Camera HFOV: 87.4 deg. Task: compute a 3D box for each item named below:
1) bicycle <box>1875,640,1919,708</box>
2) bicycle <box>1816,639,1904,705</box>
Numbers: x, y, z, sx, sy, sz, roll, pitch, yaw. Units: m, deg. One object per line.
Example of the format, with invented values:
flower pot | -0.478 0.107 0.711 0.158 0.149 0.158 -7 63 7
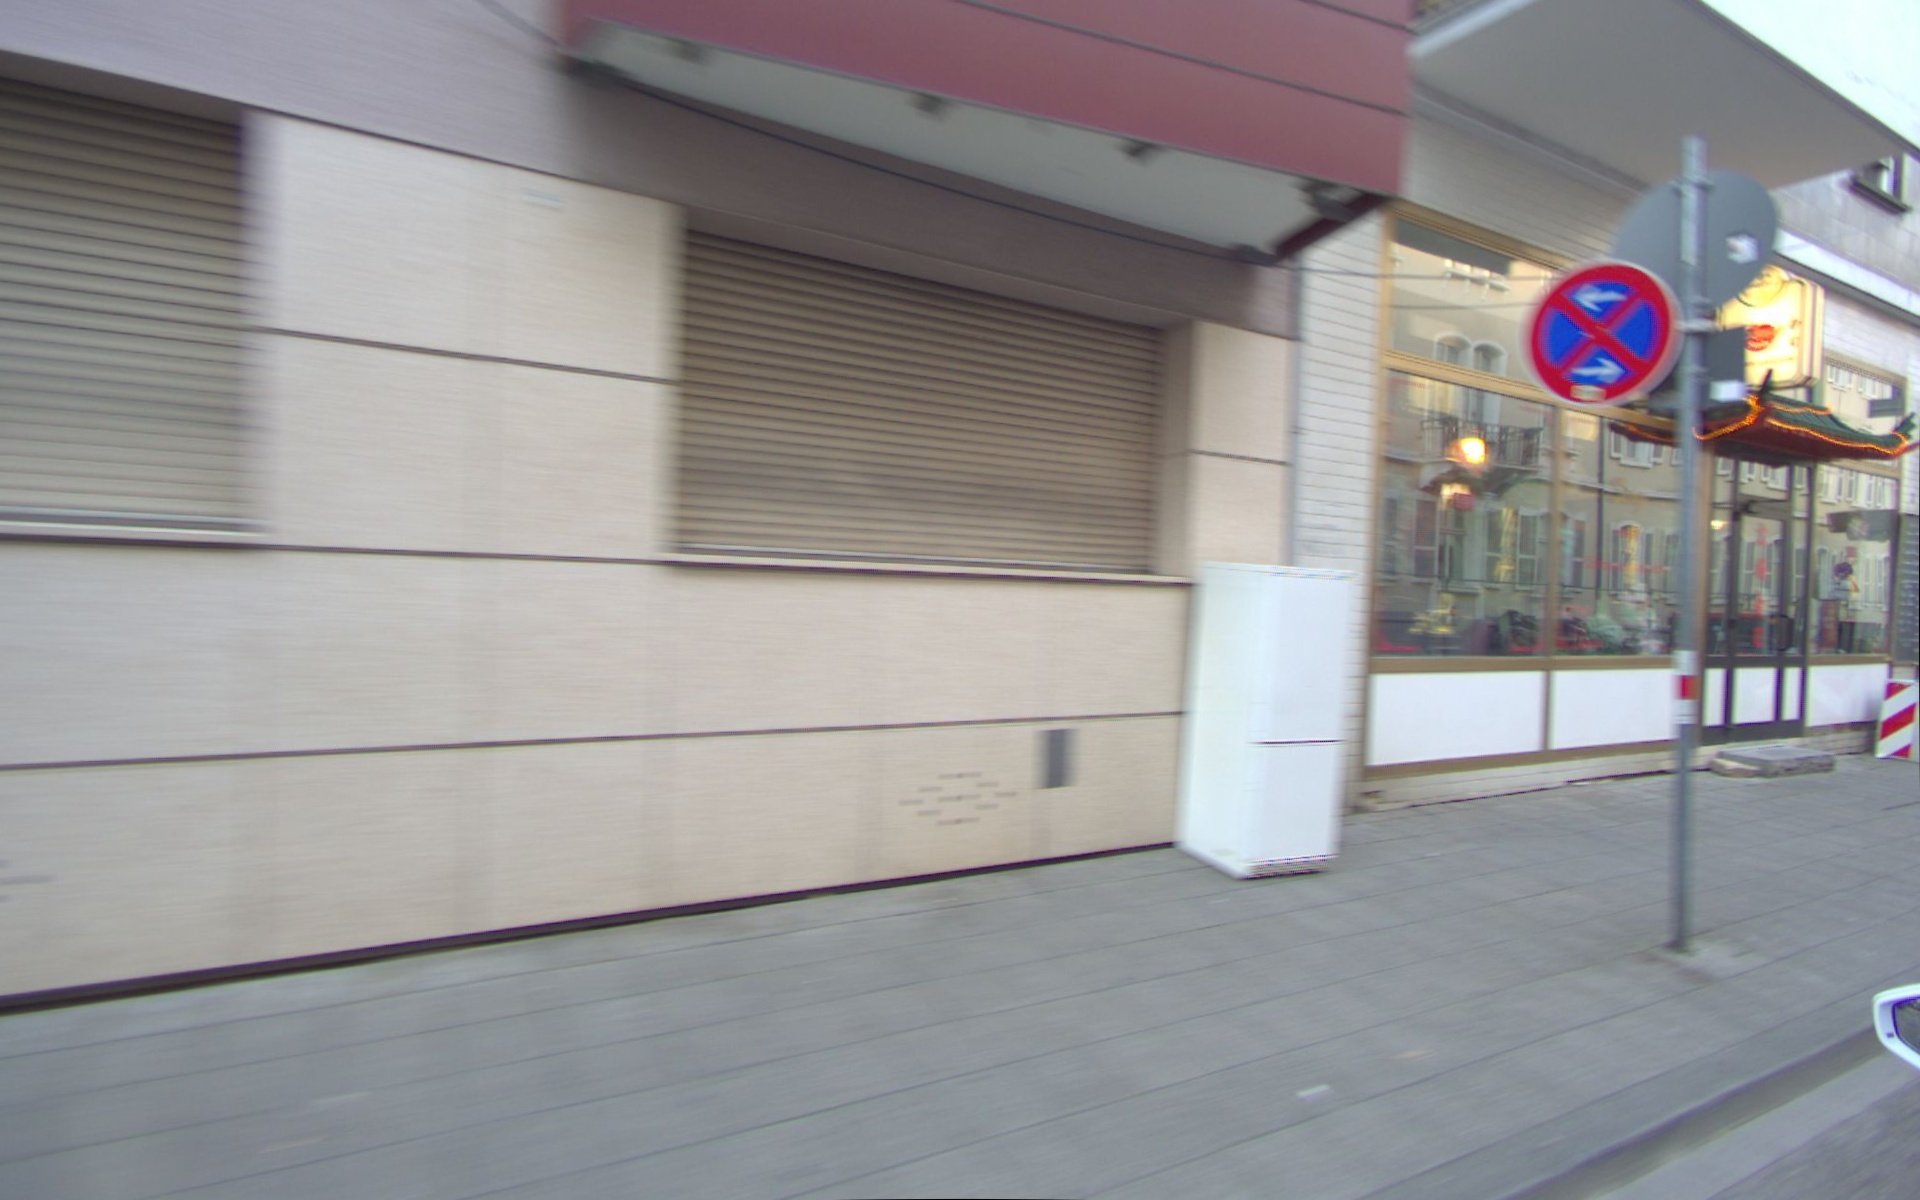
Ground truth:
bicycle | 15.273 1.158 15.998 1.727 1.023 0.519 1 1 -30
bicycle | 14.827 1.166 16.539 1.837 1.023 0.519 1 1 -30
